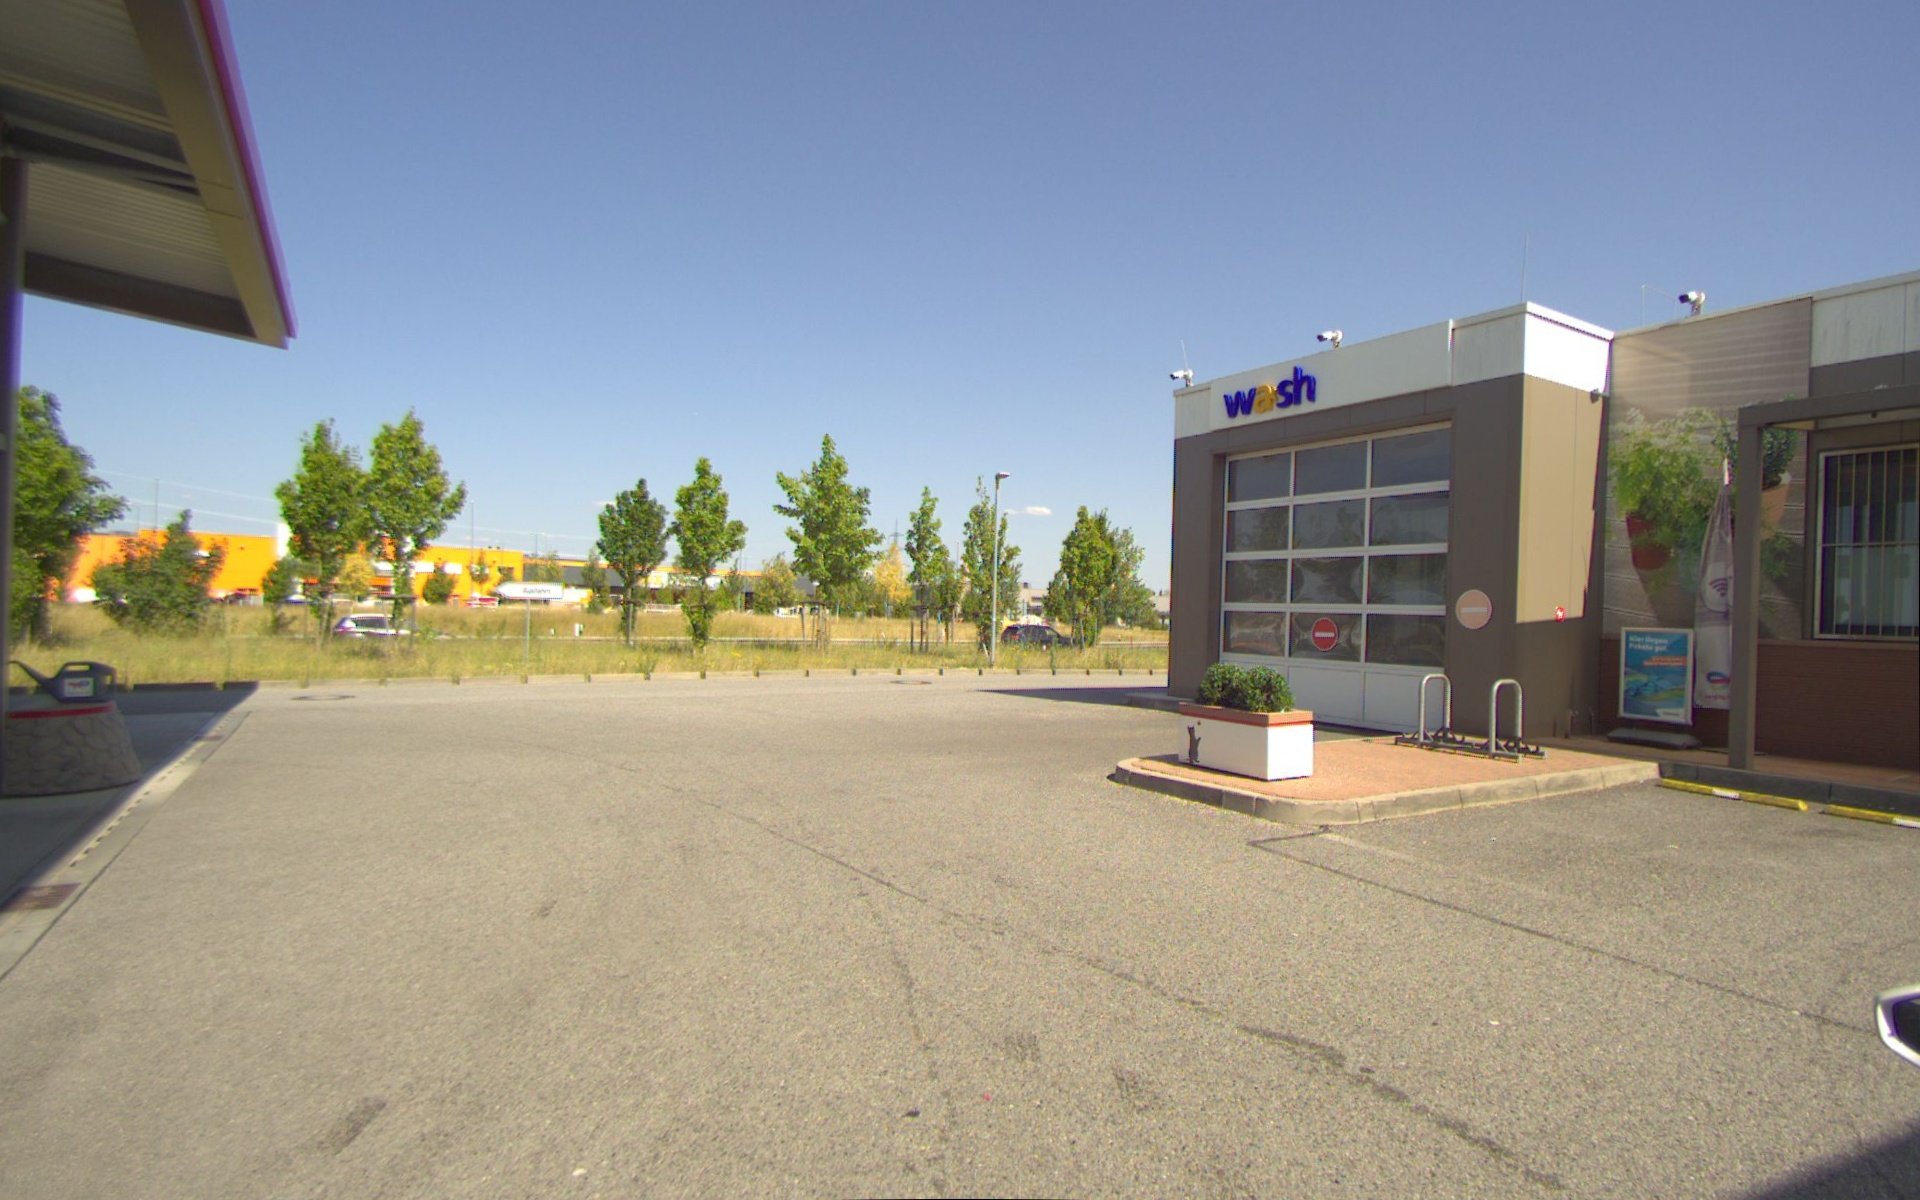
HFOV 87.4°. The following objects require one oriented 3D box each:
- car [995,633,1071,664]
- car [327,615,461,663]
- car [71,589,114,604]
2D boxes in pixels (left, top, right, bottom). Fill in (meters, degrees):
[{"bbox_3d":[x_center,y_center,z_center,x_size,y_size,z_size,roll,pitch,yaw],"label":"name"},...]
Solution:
[{"bbox_3d":[4.113,2.728,56.409,3.953,1.639,1.808,1,-1,-30],"label":"car"},{"bbox_3d":[-22.445,1.532,39.948,4.530,1.774,1.774,1,-1,-32],"label":"car"},{"bbox_3d":[-84.390,-0.342,97.756,2.910,1.316,1.474,1,-1,-30],"label":"car"}]
